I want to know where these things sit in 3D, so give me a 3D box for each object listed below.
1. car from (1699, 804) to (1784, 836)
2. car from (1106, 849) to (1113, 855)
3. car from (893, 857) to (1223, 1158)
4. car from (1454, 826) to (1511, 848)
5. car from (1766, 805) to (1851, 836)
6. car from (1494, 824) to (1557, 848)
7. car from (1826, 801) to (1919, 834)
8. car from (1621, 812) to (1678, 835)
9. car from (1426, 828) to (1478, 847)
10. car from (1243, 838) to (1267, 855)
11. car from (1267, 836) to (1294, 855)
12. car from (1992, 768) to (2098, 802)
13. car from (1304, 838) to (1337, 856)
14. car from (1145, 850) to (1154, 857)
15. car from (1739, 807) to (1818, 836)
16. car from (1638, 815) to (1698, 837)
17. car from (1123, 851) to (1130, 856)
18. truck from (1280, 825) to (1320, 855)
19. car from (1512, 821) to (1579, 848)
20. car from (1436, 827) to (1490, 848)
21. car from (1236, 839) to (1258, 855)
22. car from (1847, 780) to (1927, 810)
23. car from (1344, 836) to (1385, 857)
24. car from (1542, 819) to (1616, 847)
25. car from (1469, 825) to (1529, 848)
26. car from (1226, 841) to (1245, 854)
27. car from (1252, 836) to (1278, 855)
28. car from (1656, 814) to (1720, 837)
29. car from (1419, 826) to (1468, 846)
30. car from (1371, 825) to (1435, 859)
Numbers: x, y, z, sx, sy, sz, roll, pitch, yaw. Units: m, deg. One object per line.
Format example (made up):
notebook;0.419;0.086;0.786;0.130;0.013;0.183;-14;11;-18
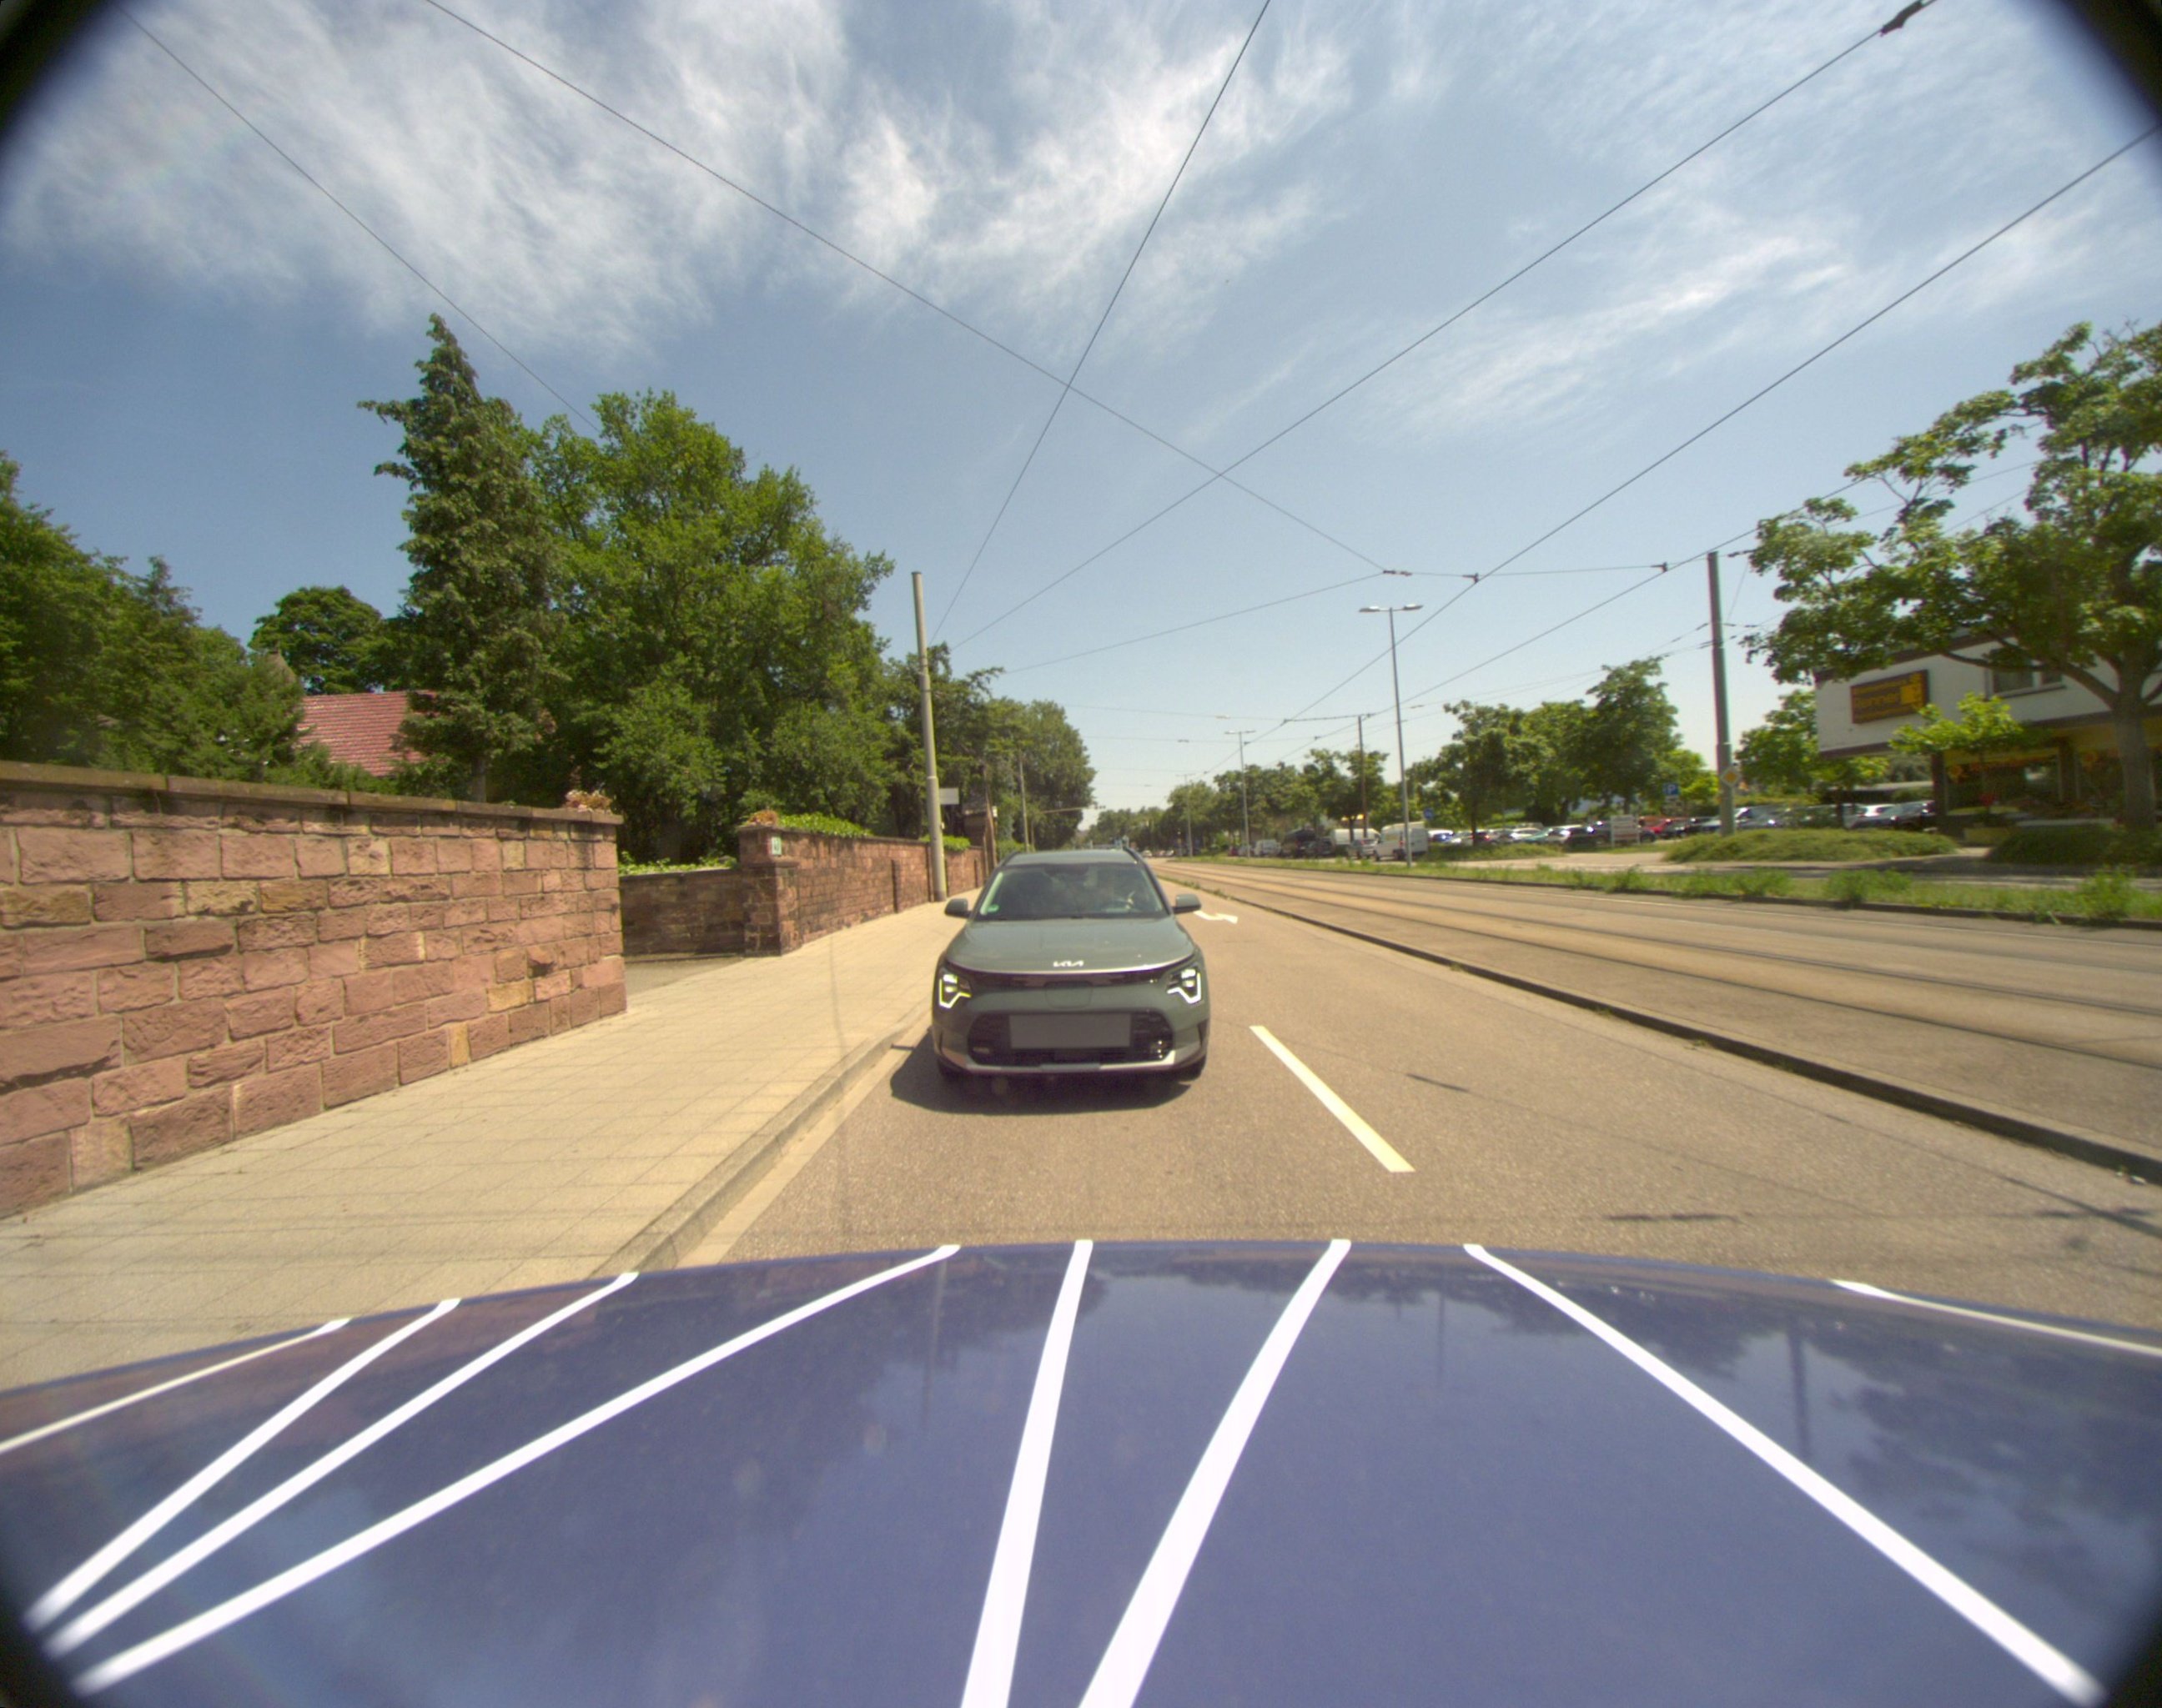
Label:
car;43.105;-2.216;49.614;3.998;1.774;1.813;-4;1;-2
car;8.585;-0.691;229.121;1.998;1.652;4.000;-3;0;0
car;-0.097;0.874;6.348;1.789;1.561;4.184;-2;1;1
car;30.433;-1.292;57.655;3.414;1.386;1.603;-4;1;-5
car;42.614;-1.942;44.550;3.492;1.528;1.624;-4;1;-2
car;30.573;-1.236;52.324;3.414;1.386;1.603;-4;1;-5
car;43.694;-1.983;42.003;3.492;1.528;1.624;-4;1;-2
car;44.736;-2.420;59.793;3.355;1.552;1.506;-4;1;-2
car;30.704;-1.362;62.932;3.414;1.386;1.603;-4;1;-5
car;20.642;-0.880;90.287;1.681;1.783;4.202;-4;0;0
car;20.628;-0.853;78.765;1.681;1.783;3.868;-4;0;0
car;61.218;-4.384;48.310;3.996;1.761;2.000;-3;1;2
car;20.240;-0.574;64.254;1.675;1.378;3.669;-3;0;2
car;16.196;-0.127;180.945;1.737;1.469;4.000;-4;0;0
car;43.265;-2.008;47.163;3.492;1.528;1.534;-4;1;-2
car;44.215;-2.115;57.287;3.355;1.450;1.506;-4;1;-2
car;14.103;-0.158;234.849;1.998;1.652;4.000;-4;0;0
truck;20.229;-1.253;70.303;2.225;2.526;4.929;-4;0;1
car;30.330;-1.257;49.661;3.414;1.482;1.598;-4;1;-5
car;30.179;-1.287;60.060;3.414;1.386;1.603;-4;1;-5
car;20.642;-0.838;94.658;1.681;1.783;4.202;-3;0;0
car;63.376;-4.618;59.815;3.996;2.002;2.000;-3;1;2
car;20.183;-0.532;54.181;1.675;1.378;3.569;-3;0;2
car;30.942;-1.280;47.278;3.414;1.482;1.793;-4;1;-5
car;30.005;-1.240;54.584;3.414;1.386;1.603;-4;1;-5
car;20.556;-0.856;101.211;1.681;1.693;3.823;-4;0;0
car;20.349;-0.900;84.281;1.681;1.963;4.509;-4;0;0
car;43.812;-2.038;54.876;3.355;1.381;1.506;-4;1;-2
car;31.280;-1.540;65.541;3.414;1.497;1.603;-4;1;-5
car;20.201;-0.728;47.847;1.998;1.872;4.661;-4;0;1
